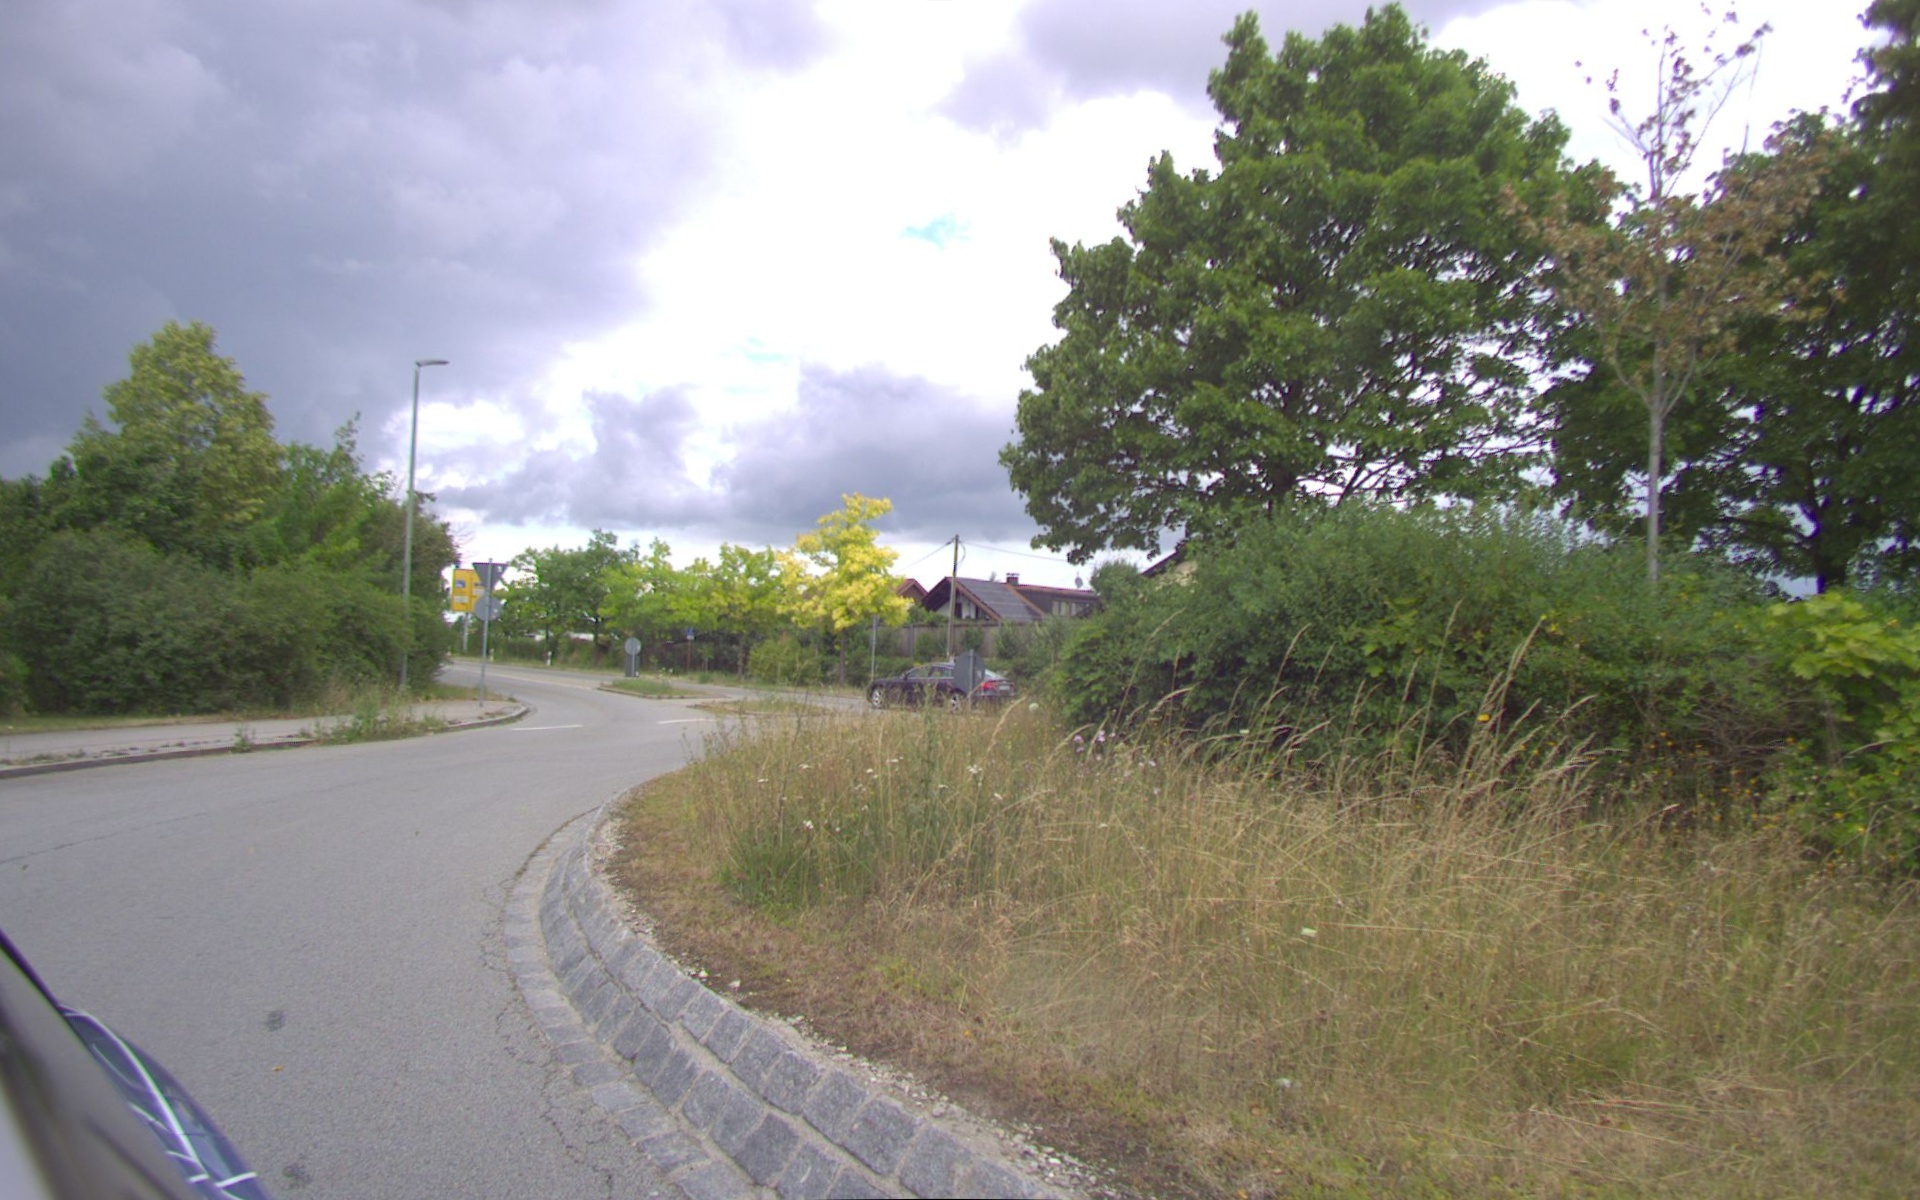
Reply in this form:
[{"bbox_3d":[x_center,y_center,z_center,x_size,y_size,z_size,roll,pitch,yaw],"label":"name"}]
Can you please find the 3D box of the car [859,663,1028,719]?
[{"bbox_3d":[-0.515,2.479,28.119,4.462,1.357,1.912,-1,-5,37],"label":"car"}]
